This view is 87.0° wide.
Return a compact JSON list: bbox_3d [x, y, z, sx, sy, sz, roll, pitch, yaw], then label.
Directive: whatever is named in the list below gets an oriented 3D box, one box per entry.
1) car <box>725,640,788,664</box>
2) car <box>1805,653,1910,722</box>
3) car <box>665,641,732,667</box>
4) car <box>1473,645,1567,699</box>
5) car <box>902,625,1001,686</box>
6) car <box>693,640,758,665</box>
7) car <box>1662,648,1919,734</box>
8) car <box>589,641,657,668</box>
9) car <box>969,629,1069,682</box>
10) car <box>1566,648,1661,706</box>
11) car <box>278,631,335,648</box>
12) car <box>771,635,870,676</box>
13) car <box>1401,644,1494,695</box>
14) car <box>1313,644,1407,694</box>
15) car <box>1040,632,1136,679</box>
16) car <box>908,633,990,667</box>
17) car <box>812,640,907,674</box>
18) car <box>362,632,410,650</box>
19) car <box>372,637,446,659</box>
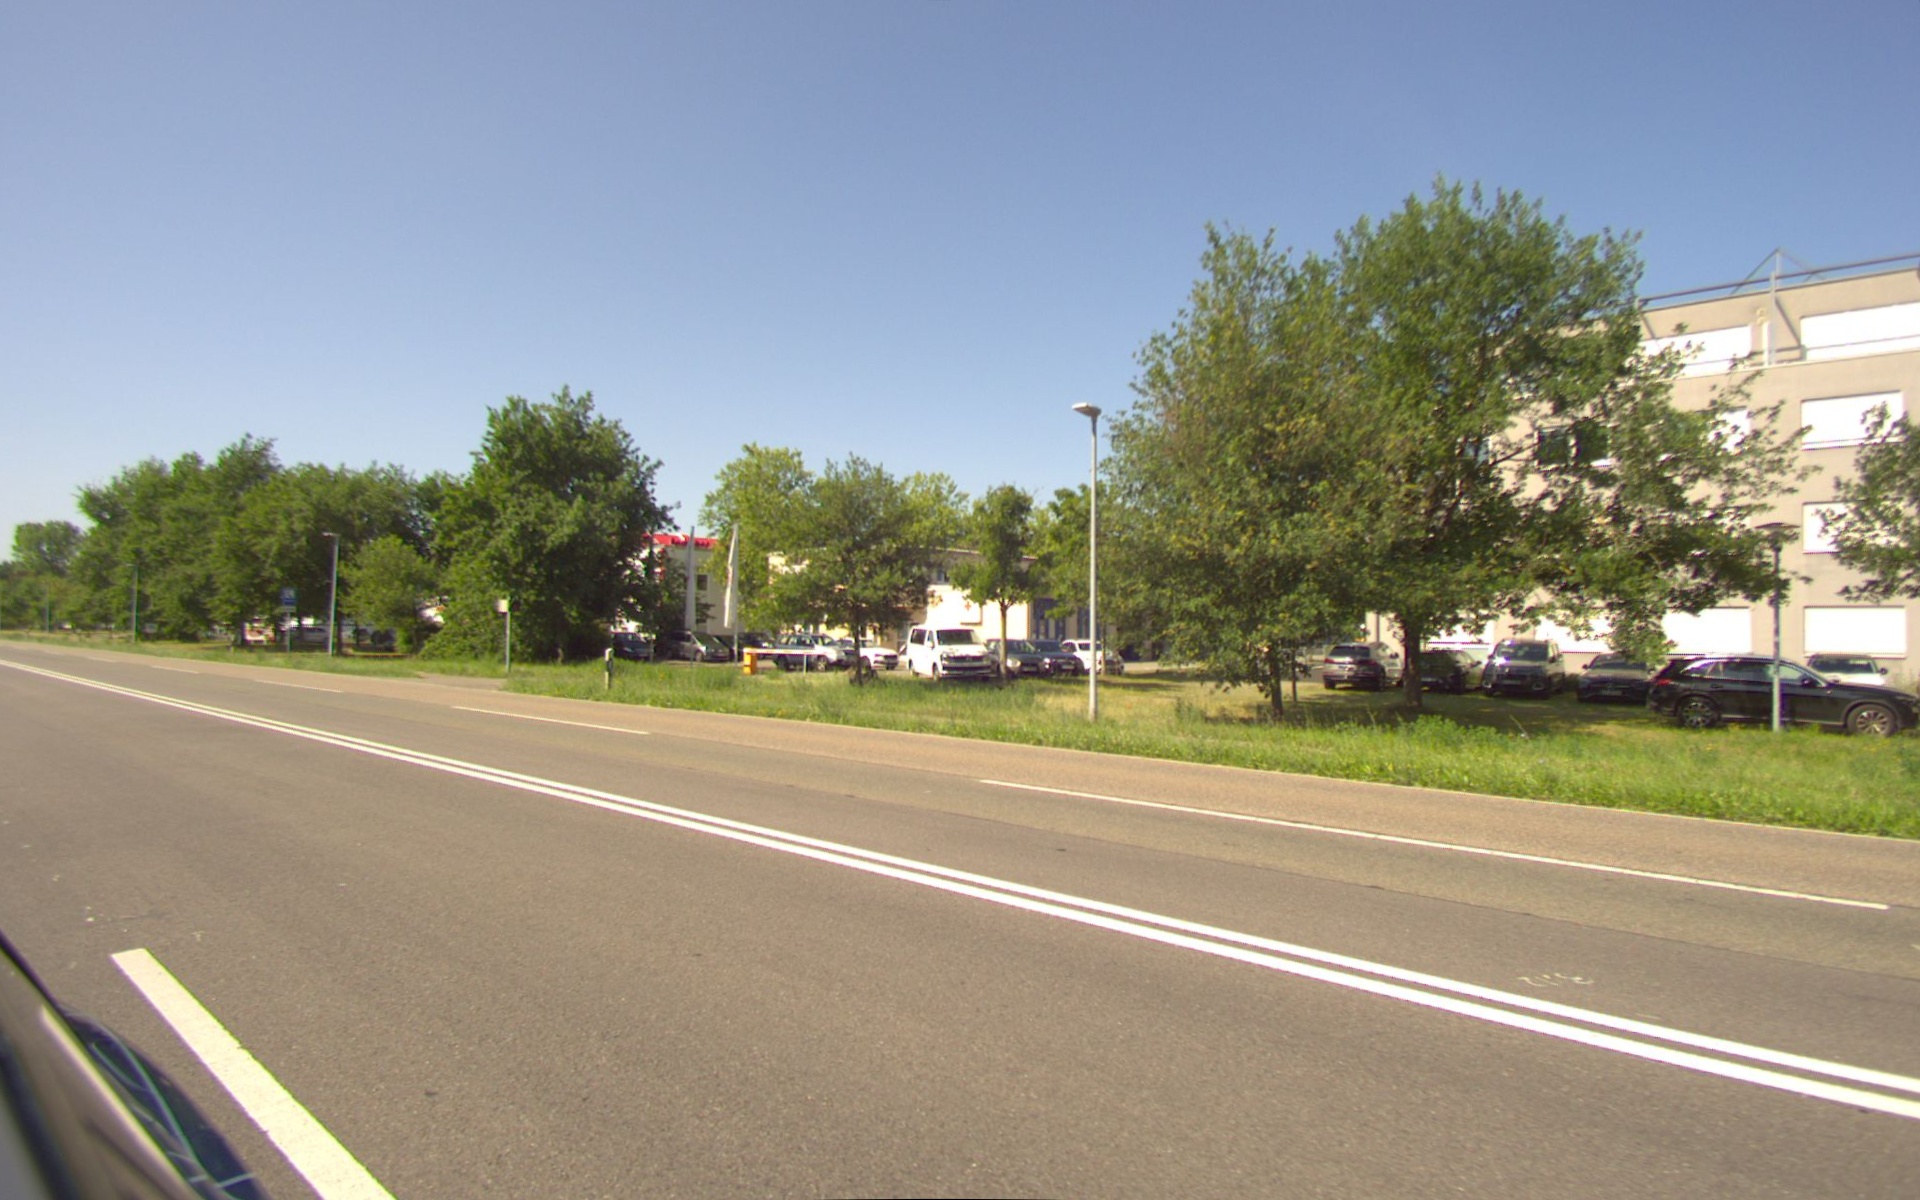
[{"bbox_3d":[-12.280,3.136,60.955,3.998,1.360,1.654,-1,-3,41],"label":"car"},{"bbox_3d":[23.231,2.204,26.322,1.886,1.548,3.946,-1,-3,40],"label":"car"},{"bbox_3d":[-14.636,2.989,56.645,3.998,1.360,1.654,-1,-3,41],"label":"car"},{"bbox_3d":[17.622,2.204,31.759,1.886,1.548,3.946,-1,-3,40],"label":"car"},{"bbox_3d":[-0.403,1.881,35.615,2.038,1.944,5.031,1,-2,-18],"label":"car"},{"bbox_3d":[-13.726,3.061,59.064,3.998,1.360,1.654,-1,-3,41],"label":"car"},{"bbox_3d":[17.745,1.861,21.435,4.546,1.590,1.725,-1,-3,41],"label":"car"},{"bbox_3d":[-18.020,2.878,54.023,3.998,1.360,1.654,-1,-3,41],"label":"car"},{"bbox_3d":[2.113,2.034,38.061,2.038,1.820,5.031,1,-2,-18],"label":"car"},{"bbox_3d":[19.449,2.231,30.048,1.886,1.548,3.946,-1,-3,40],"label":"car"},{"bbox_3d":[-59.185,3.612,91.720,1.757,1.512,3.945,-1,-3,41],"label":"car"},{"bbox_3d":[-6.075,2.351,43.843,4.188,1.664,1.909,-1,-2,40],"label":"car"},{"bbox_3d":[16.186,2.248,33.505,1.886,1.548,3.946,-1,-3,40],"label":"car"},{"bbox_3d":[13.807,2.318,34.816,1.886,1.548,3.946,-1,-3,40],"label":"car"},{"bbox_3d":[5.347,2.300,42.975,2.038,1.820,5.031,1,-2,-18],"label":"car"},{"bbox_3d":[-0.609,2.582,52.818,4.166,1.670,1.837,-1,-2,41],"label":"car"},{"bbox_3d":[-4.549,2.524,45.567,4.188,1.404,1.909,-1,-2,40],"label":"car"},{"bbox_3d":[-46.513,3.298,81.932,4.658,1.360,1.769,-1,-3,39],"label":"car"},{"bbox_3d":[-40.068,3.478,73.702,1.856,1.335,4.305,0,-5,41],"label":"car"}]
